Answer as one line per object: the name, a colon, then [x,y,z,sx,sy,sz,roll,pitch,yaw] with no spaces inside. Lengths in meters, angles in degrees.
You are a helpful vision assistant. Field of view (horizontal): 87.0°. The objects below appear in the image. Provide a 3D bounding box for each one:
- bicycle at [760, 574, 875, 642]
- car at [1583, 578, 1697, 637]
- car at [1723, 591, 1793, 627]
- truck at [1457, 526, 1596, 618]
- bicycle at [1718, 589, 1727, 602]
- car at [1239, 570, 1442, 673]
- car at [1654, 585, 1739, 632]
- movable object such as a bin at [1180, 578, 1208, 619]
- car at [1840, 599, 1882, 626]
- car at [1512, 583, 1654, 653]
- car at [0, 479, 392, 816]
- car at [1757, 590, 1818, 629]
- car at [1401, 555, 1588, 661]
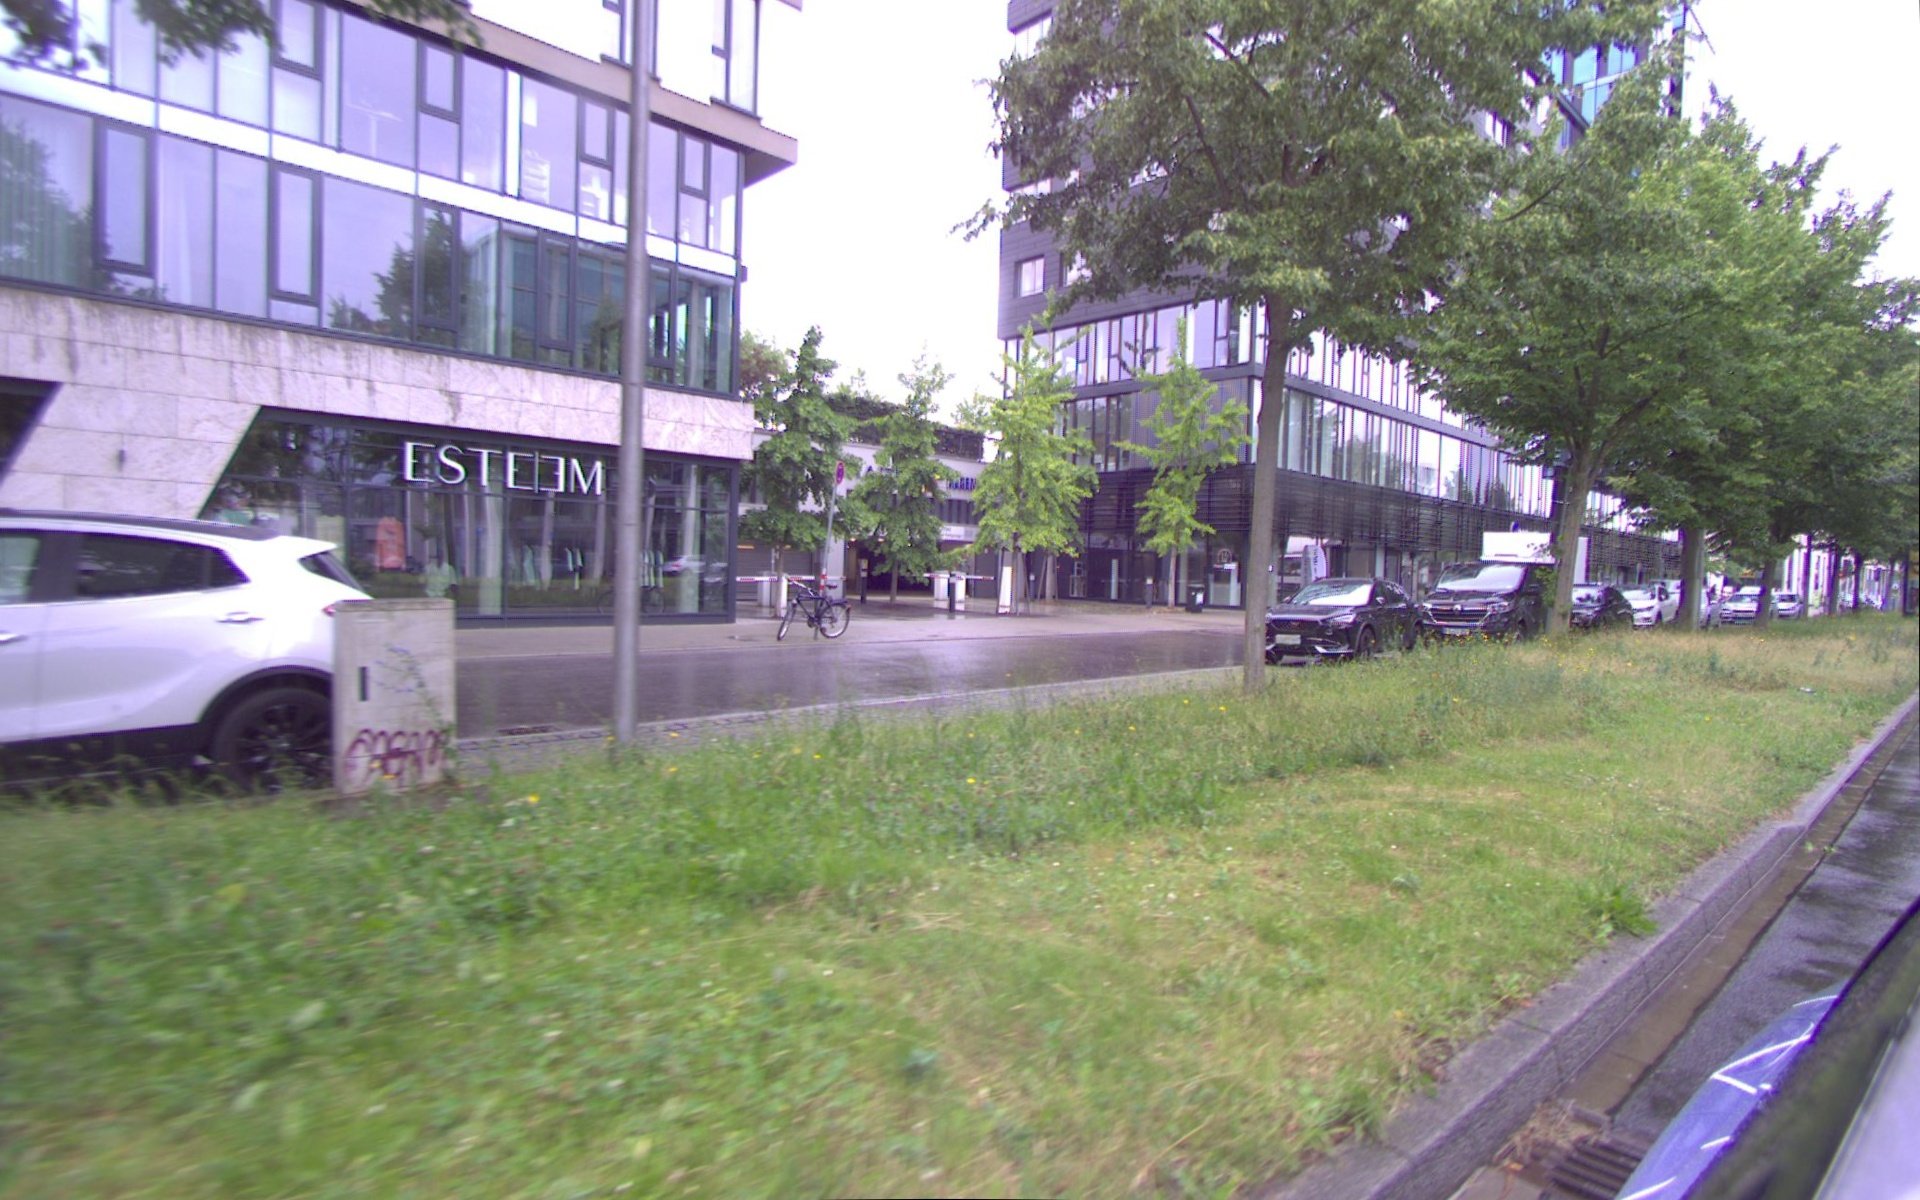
bicycle: [-2.506,0.145,17.984,2.028,1.144,0.519,1,1,-41]
car: [21.097,0.217,31.316,4.645,1.690,1.995,1,0,-44]
car: [35.909,0.393,45.492,1.994,1.462,5.154,3,2,44]
truck: [23.953,-1.104,42.544,3.025,3.483,8.412,3,2,44]
bicycle: [56.593,-0.311,75.100,0.436,0.908,1.212,3,0,42]
car: [6.840,0.321,17.903,1.955,1.531,4.416,3,2,40]
car: [25.817,0.337,35.422,1.769,1.471,4.647,-1,-3,44]
movable object such as a bin: [7.638,-0.048,33.053,0.608,1.292,0.638,3,-1,43]
car: [66.419,0.928,74.608,4.147,1.729,1.996,4,0,-44]
car: [16.589,0.480,26.834,4.874,1.690,1.996,2,-1,-43]
car: [-5.920,0.169,5.398,4.643,1.690,1.996,4,0,-43]
car: [40.565,0.480,49.601,4.030,1.616,1.763,4,0,-43]
car: [11.611,0.223,21.819,4.942,1.977,1.996,4,0,-43]
